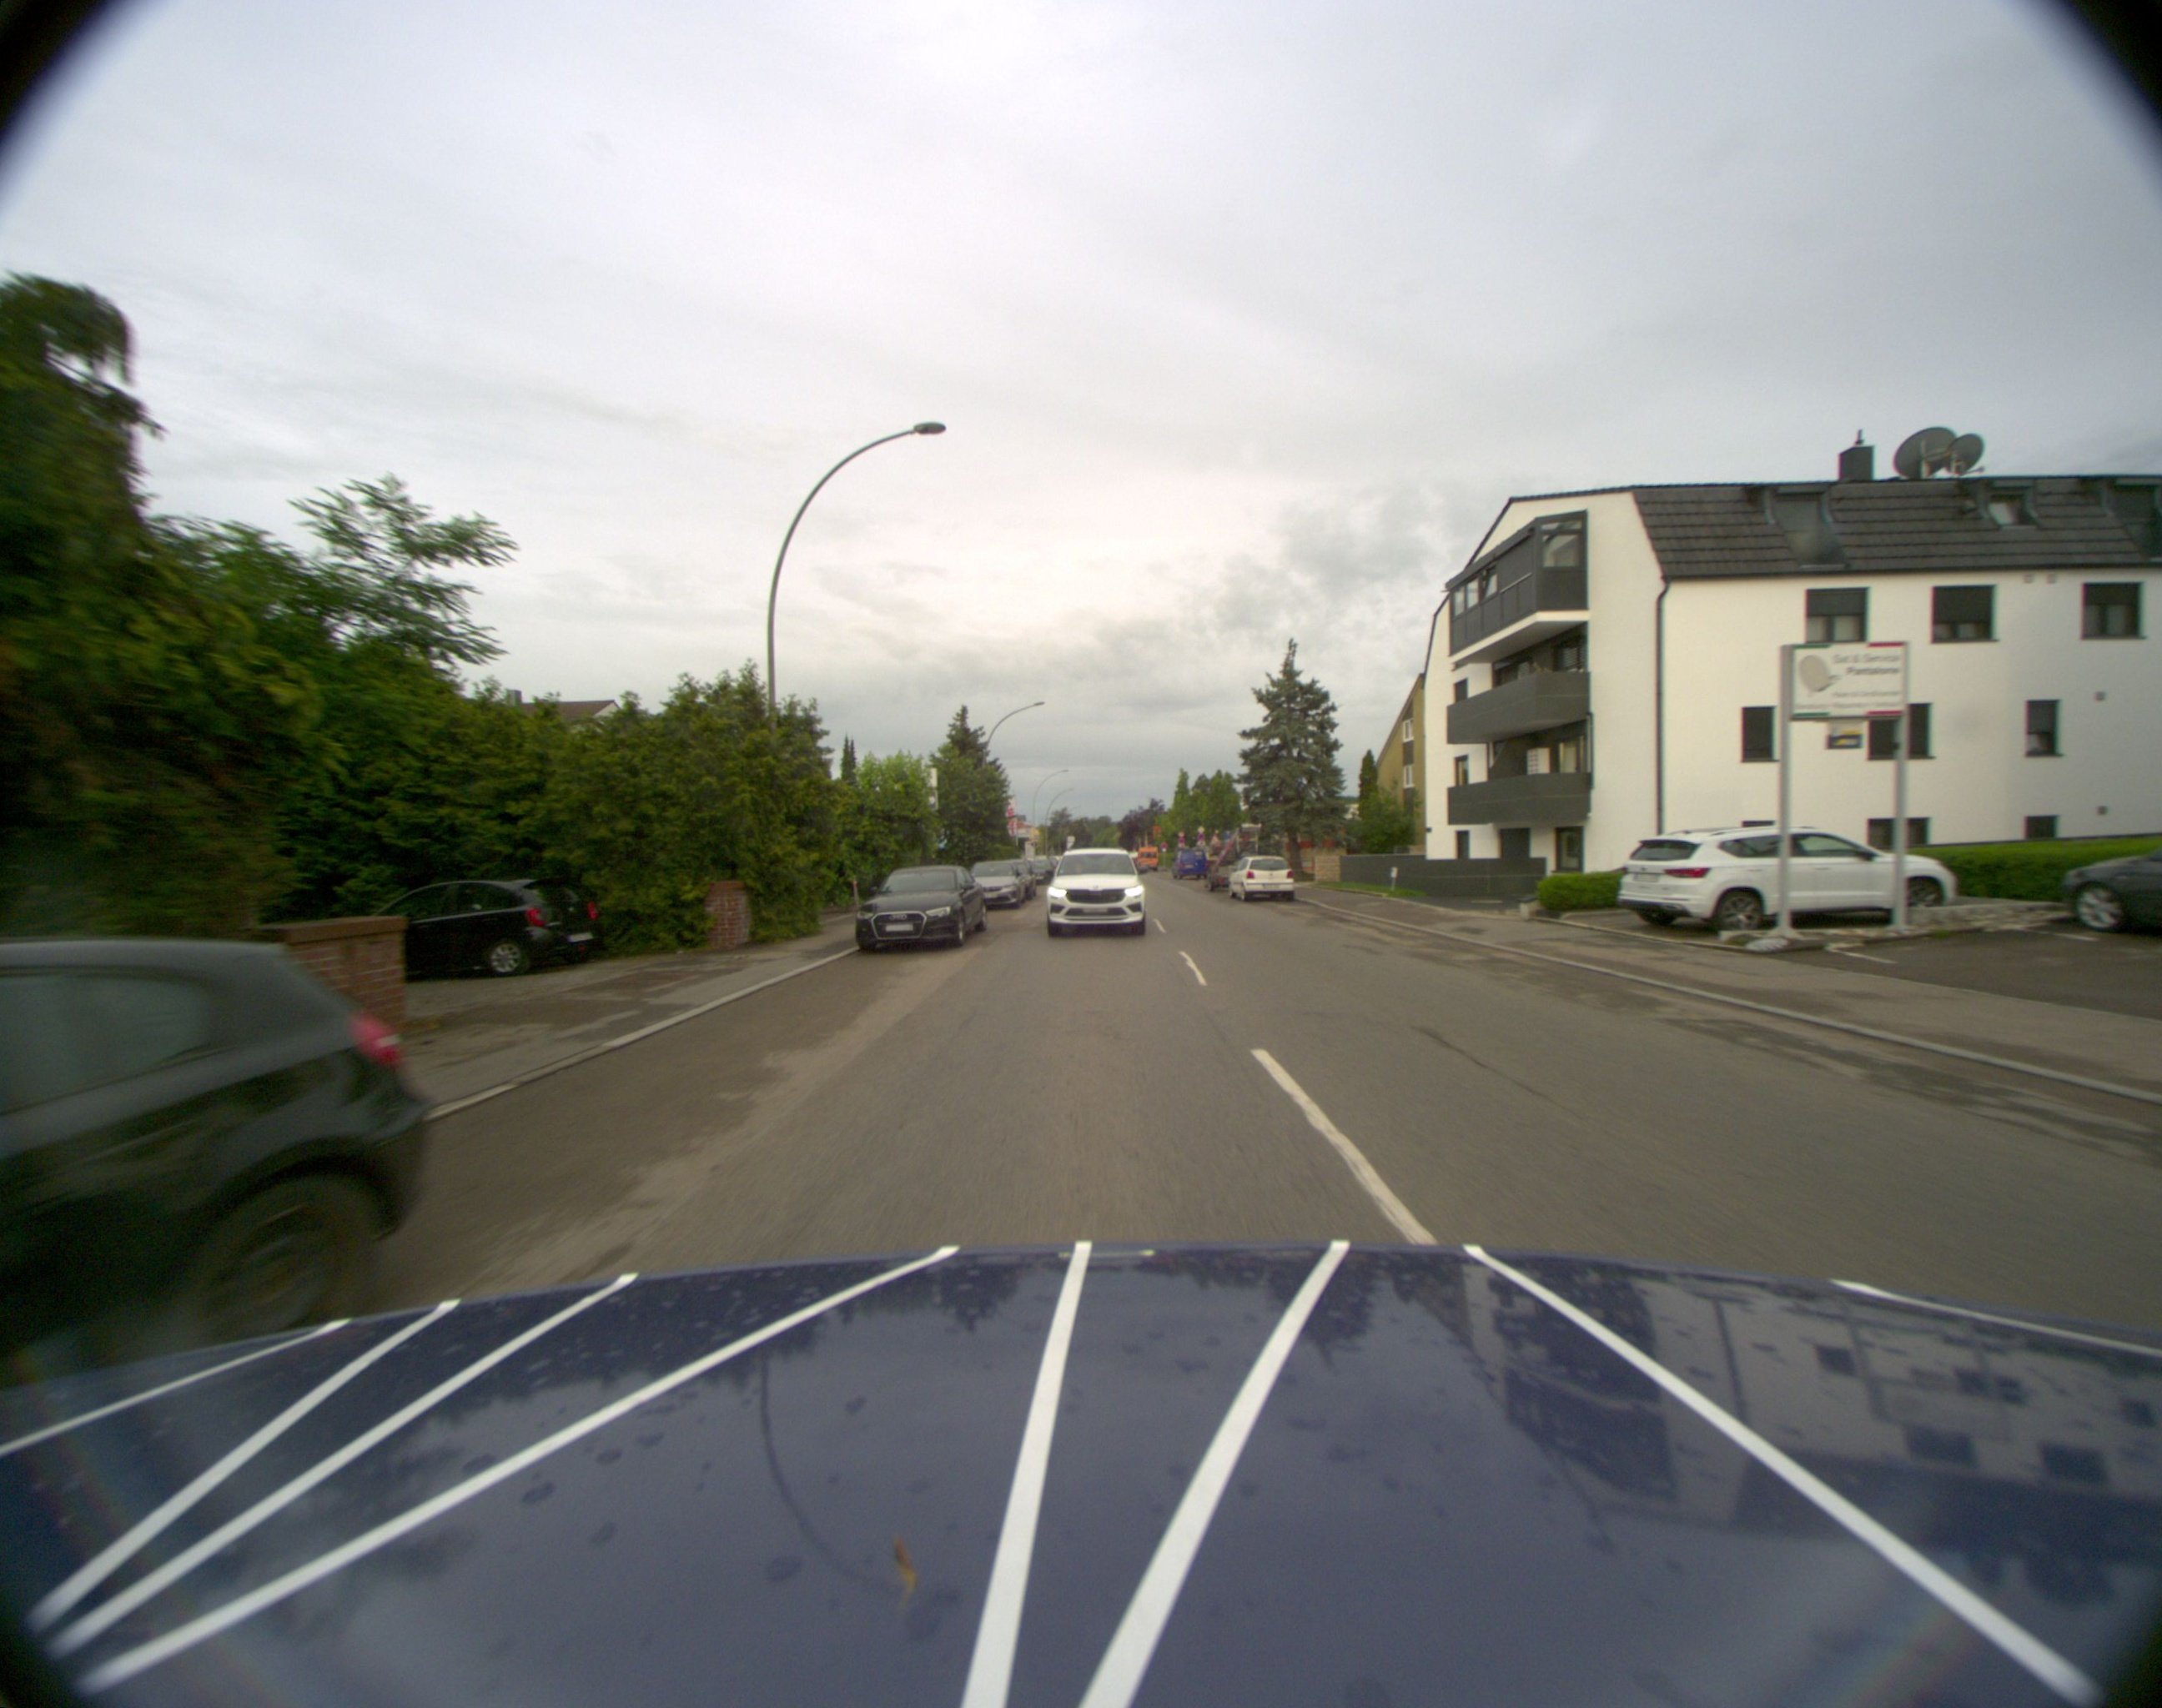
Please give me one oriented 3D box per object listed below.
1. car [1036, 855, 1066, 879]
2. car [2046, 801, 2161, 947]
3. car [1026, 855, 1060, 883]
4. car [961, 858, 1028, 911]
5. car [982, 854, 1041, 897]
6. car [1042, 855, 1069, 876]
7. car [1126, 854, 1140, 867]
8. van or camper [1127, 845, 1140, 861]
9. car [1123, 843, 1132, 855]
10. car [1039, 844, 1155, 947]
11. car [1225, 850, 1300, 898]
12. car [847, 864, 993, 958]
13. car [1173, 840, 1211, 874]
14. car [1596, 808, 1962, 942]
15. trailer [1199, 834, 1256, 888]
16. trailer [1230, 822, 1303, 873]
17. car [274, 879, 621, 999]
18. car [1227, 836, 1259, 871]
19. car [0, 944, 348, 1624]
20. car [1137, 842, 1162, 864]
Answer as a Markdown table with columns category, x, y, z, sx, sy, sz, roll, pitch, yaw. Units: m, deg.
| category | x | y | z | sx | sy | sz | roll | pitch | yaw |
| --- | --- | --- | --- | --- | --- | --- | --- | --- | --- |
| car | -1.936 | 0.844 | 50.316 | 1.677 | 1.455 | 3.551 | -3 | 0 | 1 |
| car | 12.575 | 0.207 | 7.425 | 1.822 | 1.521 | 4.003 | -6 | 1 | 16 |
| car | -2.173 | 0.832 | 44.470 | 1.677 | 1.455 | 3.690 | -3 | 0 | 1 |
| car | -2.599 | 0.892 | 23.709 | 1.656 | 1.432 | 4.042 | -1 | 1 | -1 |
| car | -2.503 | 0.754 | 28.471 | 1.766 | 1.432 | 4.483 | -1 | 0 | 0 |
| car | -1.807 | 0.791 | 55.421 | 1.677 | 1.388 | 3.551 | -3 | 0 | 1 |
| car | 7.026 | 0.860 | 102.745 | 1.811 | 1.761 | 4.000 | -1 | 1 | 3 |
| van or camper | 7.895 | -0.139 | 113.704 | 1.811 | 2.328 | 4.000 | -1 | 1 | 3 |
| car | 9.065 | -0.918 | 148.593 | 1.659 | 2.221 | 3.744 | -2 | 1 | 1 |
| car | 0.321 | 0.662 | 14.830 | 1.884 | 1.650 | 4.830 | -1 | 1 | 1 |
| car | 6.123 | 0.627 | 26.023 | 1.740 | 1.496 | 3.871 | -1 | 1 | 2 |
| car | -2.821 | 0.943 | 14.271 | 1.756 | 1.410 | 4.110 | -1 | 1 | 1 |
| car | 7.336 | 0.157 | 50.755 | 1.998 | 2.112 | 4.755 | -1 | 1 | 2 |
| car | 11.026 | 0.301 | 12.259 | 3.997 | 1.638 | 2.000 | -5 | 1 | -1 |
| trailer | 6.223 | 0.254 | 32.607 | 1.721 | 2.114 | 4.006 | -2 | 1 | 1 |
| trailer | 11.663 | -0.420 | 47.988 | 4.059 | 3.029 | 2.168 | -2 | 1 | 2 |
| car | -9.782 | 1.277 | 11.946 | 3.996 | 1.421 | 1.700 | -4 | 1 | 3 |
| car | 11.492 | -0.043 | 54.051 | 1.569 | 2.393 | 3.594 | -1 | 1 | 2 |
| car | -3.299 | 1.045 | 0.579 | 1.742 | 1.395 | 3.718 | -3 | 0 | 1 |
| car | 7.372 | -0.135 | 82.139 | 2.264 | 2.275 | 4.530 | 1 | 1 | 1 |
